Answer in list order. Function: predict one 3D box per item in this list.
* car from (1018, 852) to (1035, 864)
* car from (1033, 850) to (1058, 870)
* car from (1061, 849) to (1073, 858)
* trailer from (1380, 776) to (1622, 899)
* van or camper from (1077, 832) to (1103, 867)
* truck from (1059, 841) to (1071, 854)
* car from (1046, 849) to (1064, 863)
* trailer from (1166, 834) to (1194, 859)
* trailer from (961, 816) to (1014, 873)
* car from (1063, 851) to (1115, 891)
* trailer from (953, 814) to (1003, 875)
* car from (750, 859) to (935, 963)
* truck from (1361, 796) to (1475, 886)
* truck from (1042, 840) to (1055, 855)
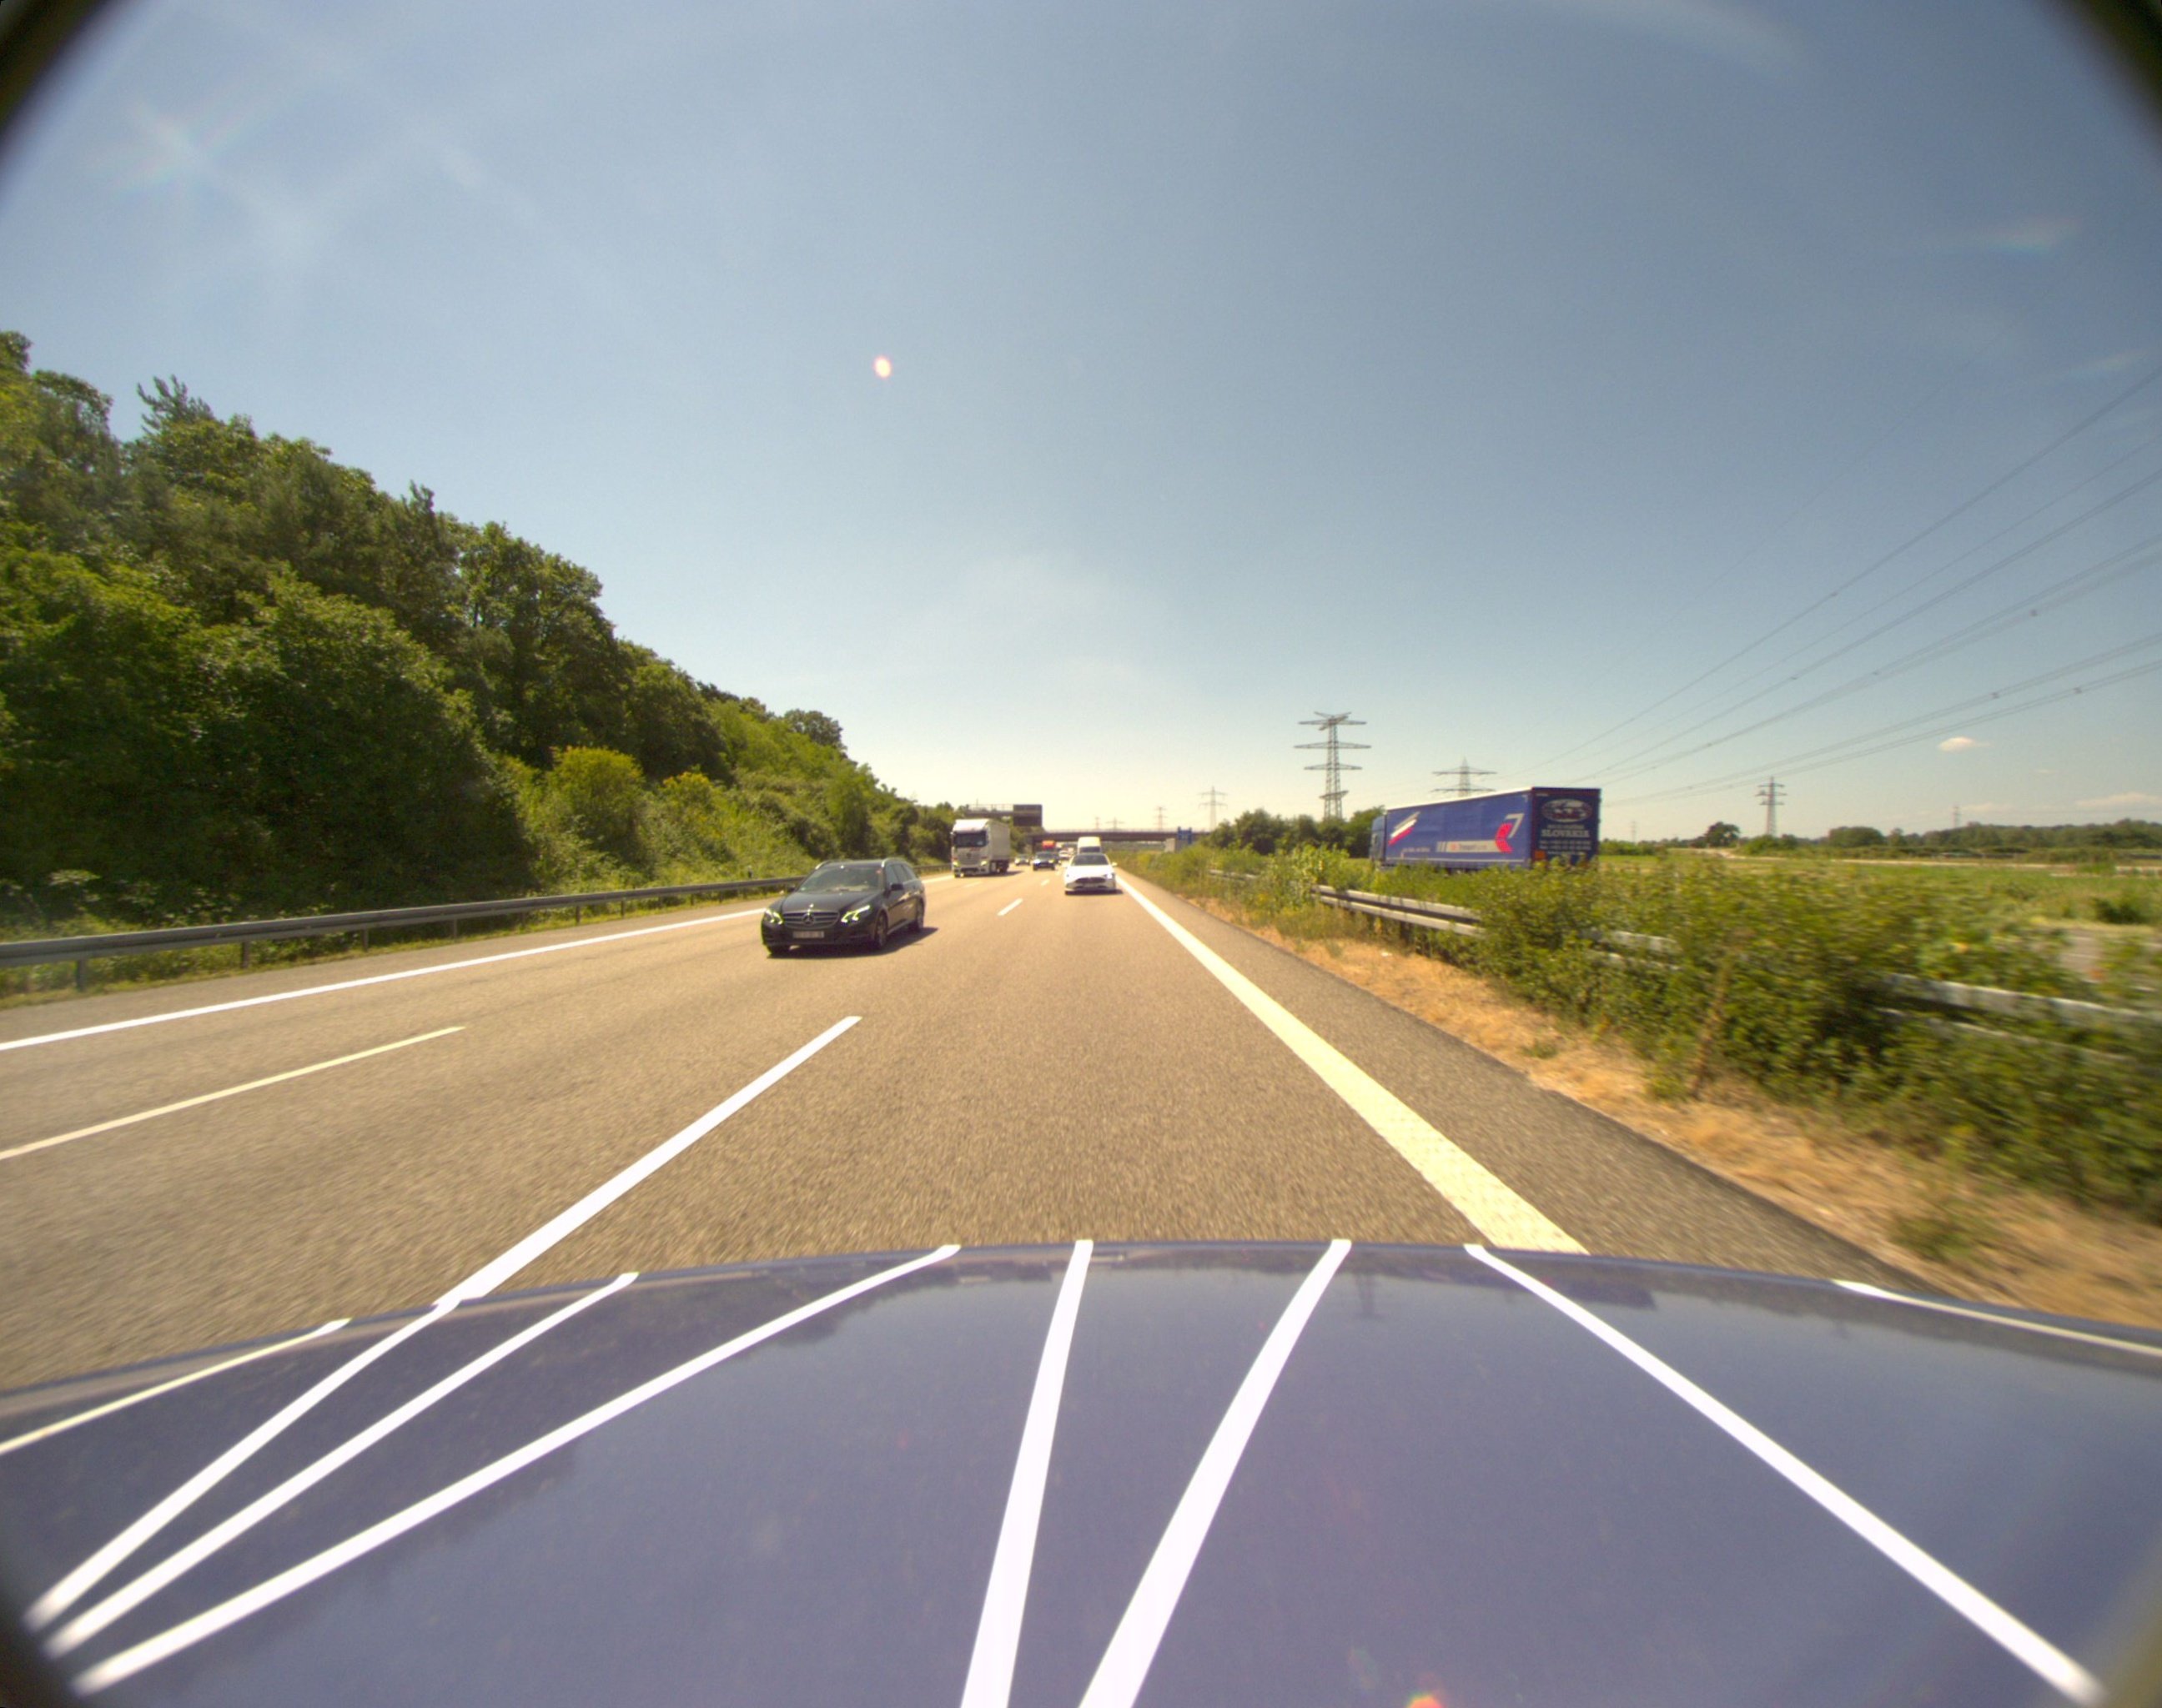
[{"bbox_3d":[-6.907,0.541,97.291,1.840,1.403,4.558,-2,0,-1],"label":"car"},{"bbox_3d":[-3.145,0.517,67.544,1.984,1.671,4.558,-1,0,-1],"label":"car"},{"bbox_3d":[-2.511,-0.067,134.926,1.984,1.525,4.137,-1,0,-1],"label":"car"},{"bbox_3d":[17.978,-0.648,34.562,3.095,4.382,14.230,2,0,1],"label":"trailer"},{"bbox_3d":[0.798,-0.373,62.846,1.998,2.740,5.410,-2,0,2],"label":"van or camper"},{"bbox_3d":[-4.964,-2.127,235.719,3.507,3.891,9.645,-1,1,-2],"label":"truck"},{"bbox_3d":[-3.112,0.243,91.718,1.984,1.671,4.557,0,0,-1],"label":"car"},{"bbox_3d":[18.773,-1.413,145.311,3.377,4.383,14.318,1,0,0],"label":"trailer"},{"bbox_3d":[-7.421,-0.752,61.969,2.736,4.079,13.187,-1,0,-1],"label":"trailer"},{"bbox_3d":[0.285,0.639,31.610,1.984,1.525,4.558,-1,0,-1],"label":"car"},{"bbox_3d":[-7.356,-0.664,55.124,2.720,4.079,6.788,-1,1,0],"label":"trailer"},{"bbox_3d":[-4.097,0.884,13.975,1.846,1.496,4.737,-2,0,0],"label":"car"},{"bbox_3d":[18.020,-0.680,41.203,3.095,4.382,6.800,2,1,1],"label":"truck"},{"bbox_3d":[-7.119,-1.388,166.305,2.582,3.204,5.712,-3,1,-1],"label":"truck"}]
